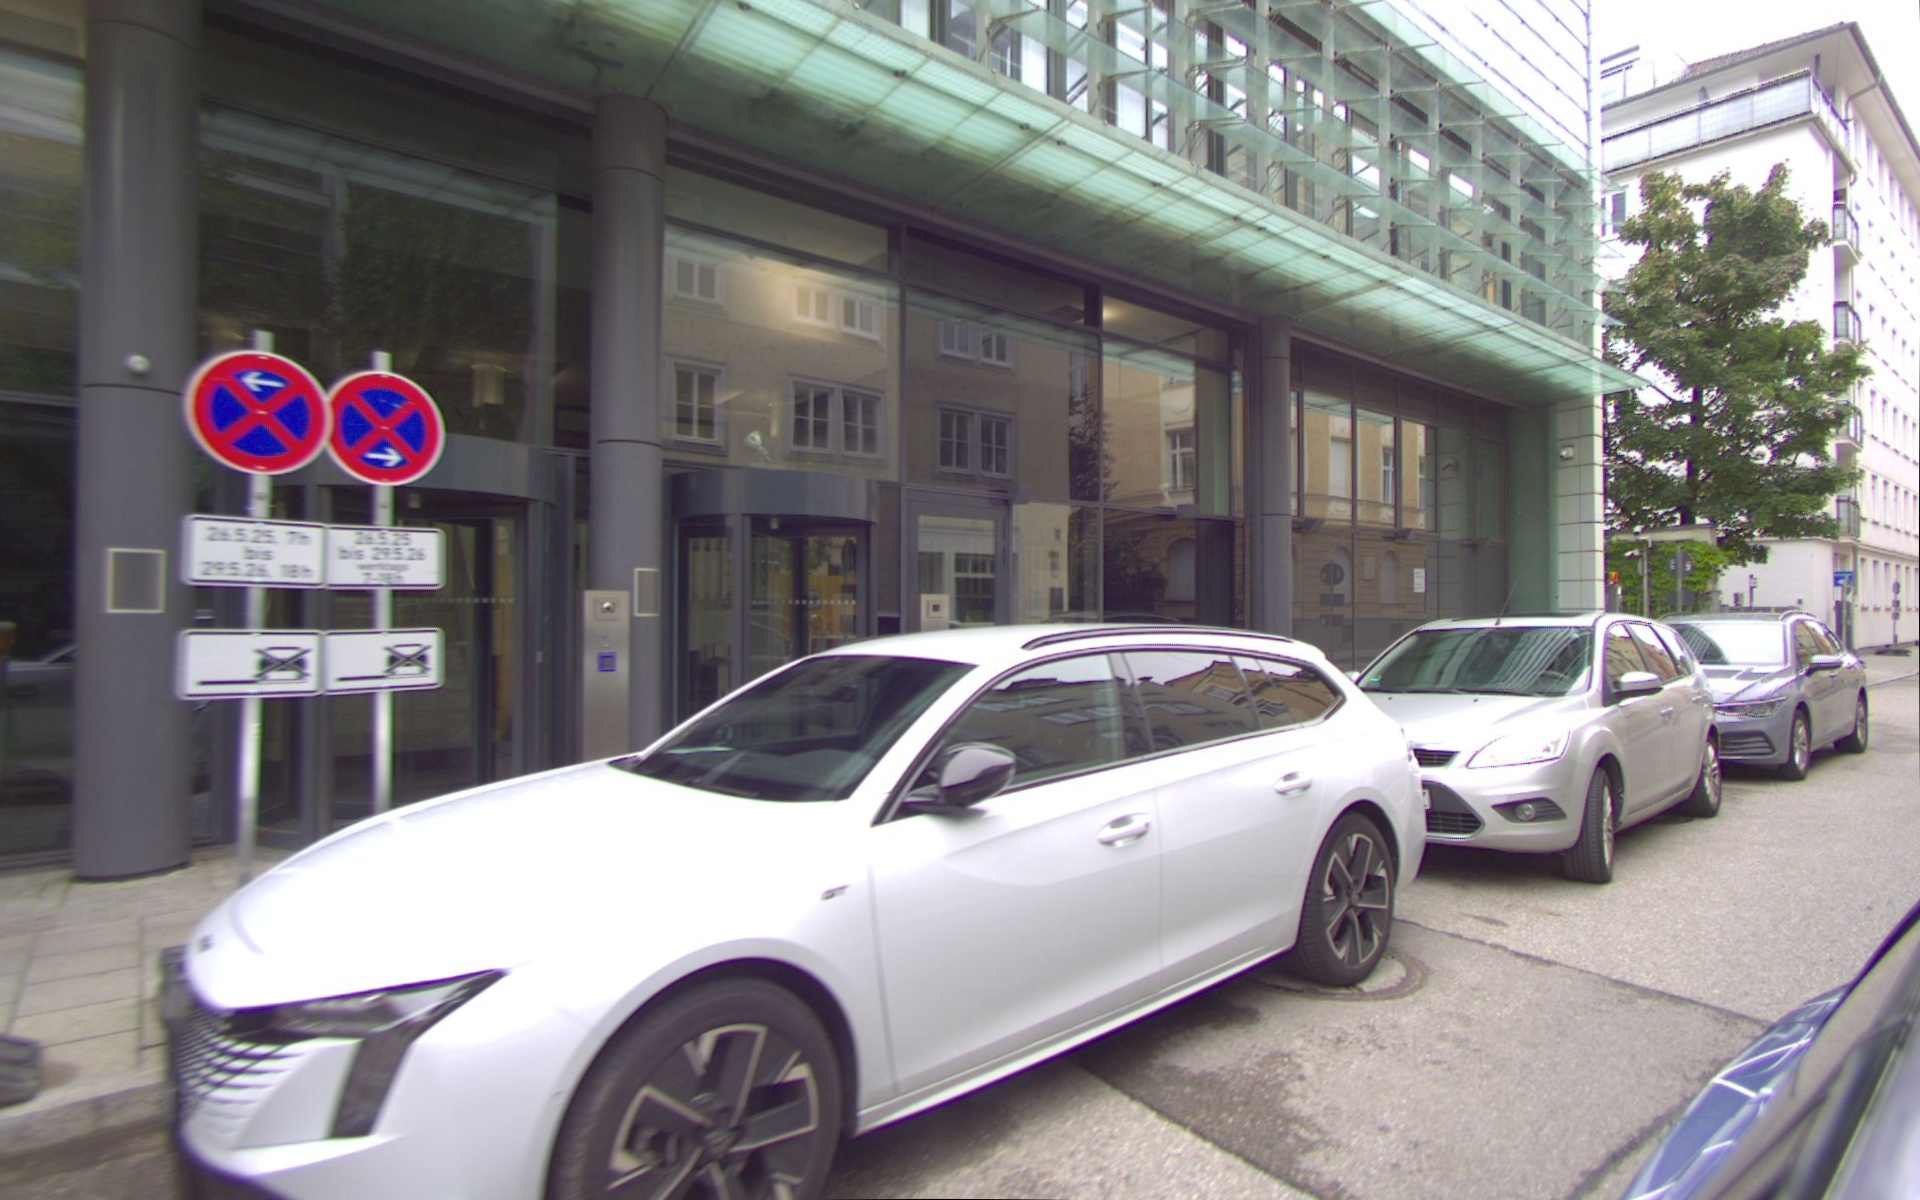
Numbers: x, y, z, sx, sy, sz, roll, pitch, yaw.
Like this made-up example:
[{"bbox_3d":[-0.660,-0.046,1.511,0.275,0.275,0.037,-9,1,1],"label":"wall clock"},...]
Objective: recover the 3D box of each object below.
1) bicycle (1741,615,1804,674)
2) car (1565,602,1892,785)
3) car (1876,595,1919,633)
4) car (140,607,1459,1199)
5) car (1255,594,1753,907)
[{"bbox_3d":[17.671,0.978,22.008,1.800,1.214,0.709,4,-3,-39],"label":"bicycle"},{"bbox_3d":[7.771,0.755,10.082,4.253,1.451,1.711,0,-1,-40],"label":"car"},{"bbox_3d":[49.347,0.700,50.794,1.895,1.915,4.686,1,-1,-31],"label":"car"},{"bbox_3d":[-0.089,0.781,3.640,4.429,1.432,1.710,0,-2,-40],"label":"car"},{"bbox_3d":[3.891,0.751,6.889,4.166,1.486,1.708,0,-2,-43],"label":"car"}]
